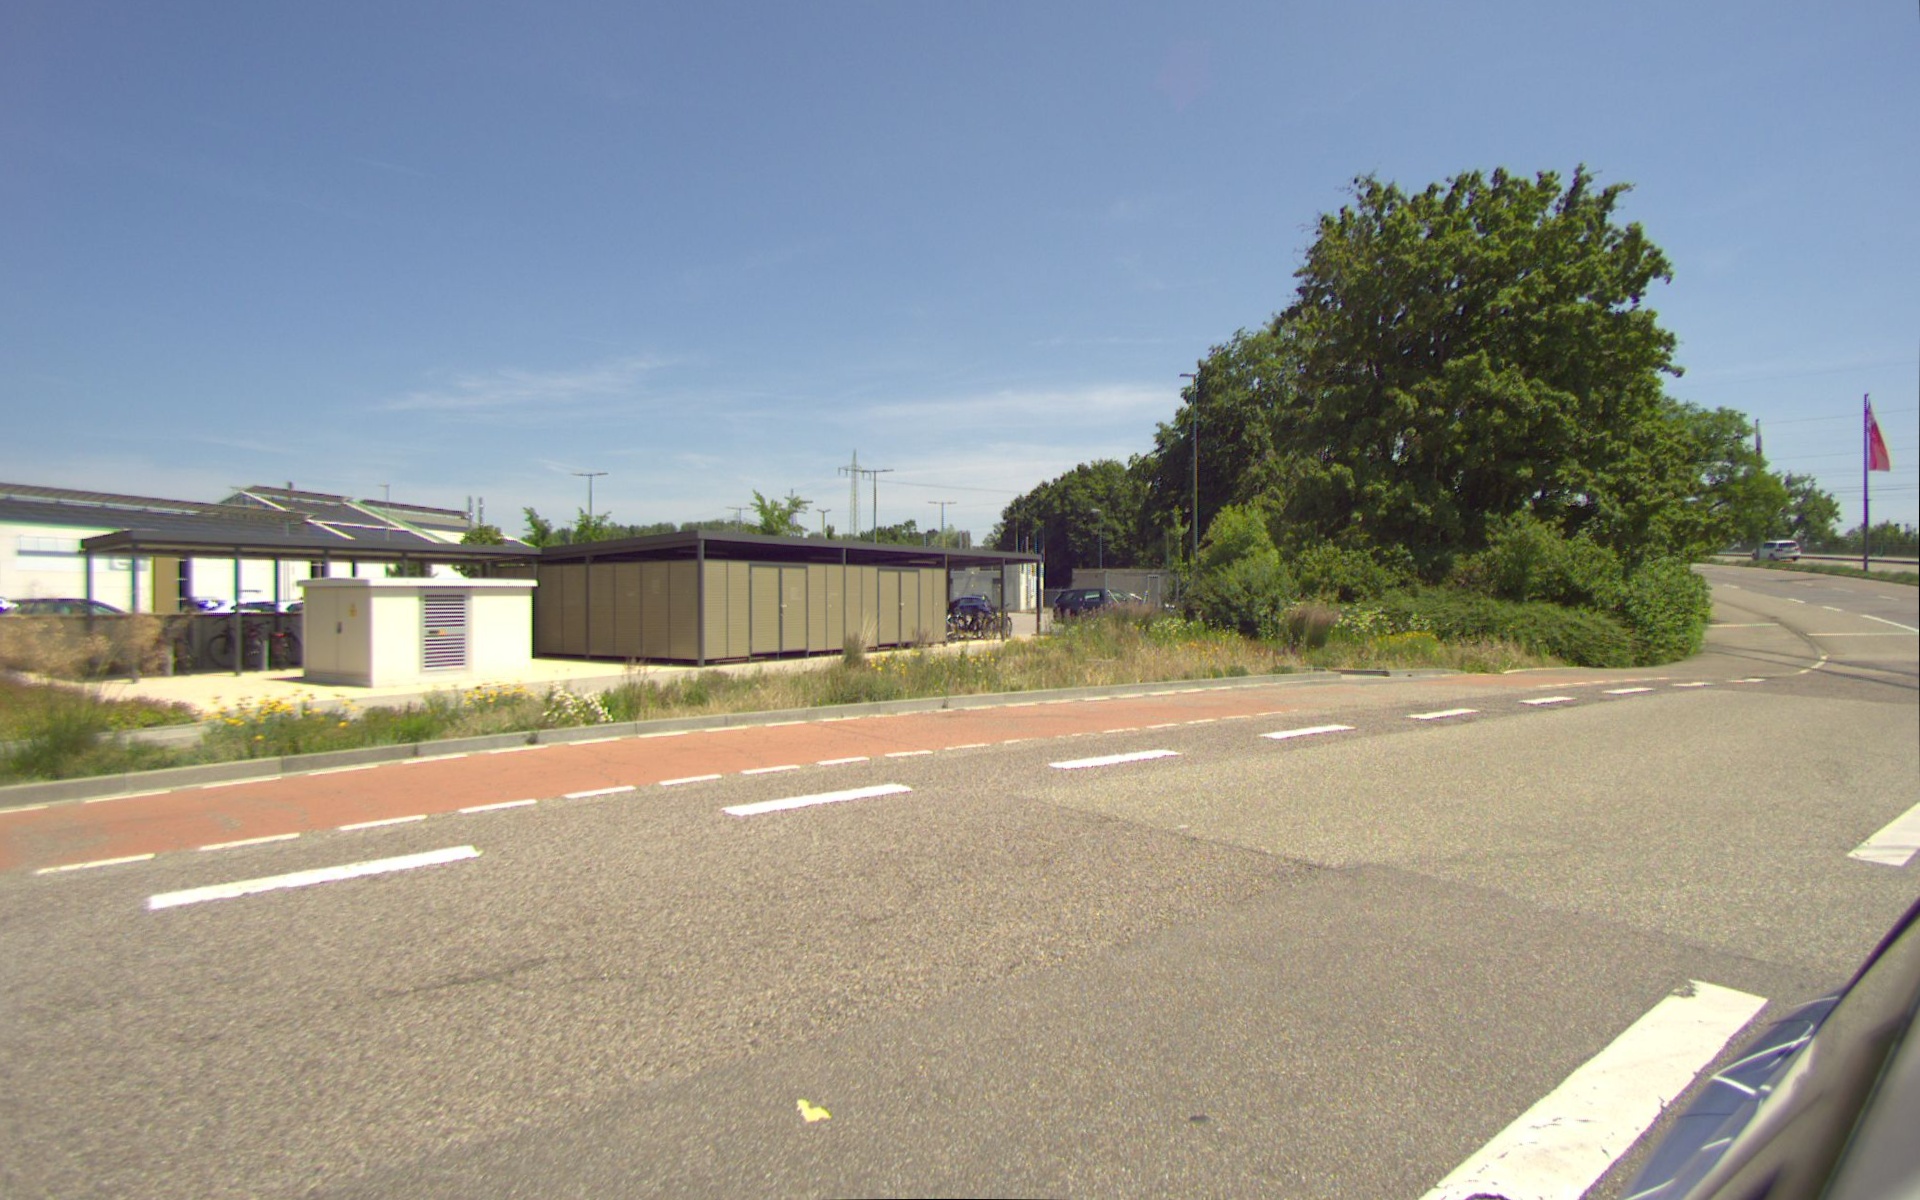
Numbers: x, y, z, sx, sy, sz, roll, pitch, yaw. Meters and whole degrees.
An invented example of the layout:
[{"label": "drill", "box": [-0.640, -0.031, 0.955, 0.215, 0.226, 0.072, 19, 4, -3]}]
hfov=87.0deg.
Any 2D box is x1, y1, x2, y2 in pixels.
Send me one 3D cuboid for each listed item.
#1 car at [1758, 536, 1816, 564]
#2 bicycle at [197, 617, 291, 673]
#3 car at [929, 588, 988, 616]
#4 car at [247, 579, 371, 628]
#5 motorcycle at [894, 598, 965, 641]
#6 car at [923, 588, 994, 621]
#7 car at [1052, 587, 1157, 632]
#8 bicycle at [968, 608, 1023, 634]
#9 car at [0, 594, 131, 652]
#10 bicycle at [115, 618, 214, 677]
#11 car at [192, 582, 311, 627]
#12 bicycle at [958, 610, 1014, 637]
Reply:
[{"label": "car", "box": [70.425, -4.298, 86.248, 1.815, 2.163, 3.997, -6, 3, 6]}, {"label": "bicycle", "box": [-14.060, 0.859, 19.859, 1.820, 1.014, 0.729, 0, 0, 26]}, {"label": "car", "box": [-0.080, 0.125, 68.860, 3.930, 1.861, 1.883, 0, 0, 6]}, {"label": "car", "box": [-26.757, 0.126, 41.665, 1.992, 1.934, 3.941, 0, 0, 41]}, {"label": "motorcycle", "box": [-0.952, 0.595, 31.516, 2.088, 1.303, 0.844, 0, -1, 25]}, {"label": "car", "box": [-0.072, 0.259, 58.522, 3.931, 1.839, 1.935, 0, 0, 7]}, {"label": "car", "box": [5.565, 0.358, 39.269, 3.933, 1.683, 1.834, 0, 0, 8]}, {"label": "bicycle", "box": [1.230, 0.723, 35.119, 1.849, 0.874, 0.577, 0, 0, 31]}, {"label": "car", "box": [-24.484, 0.579, 27.155, 1.376, 1.446, 3.234, 0, 1, 35]}, {"label": "bicycle", "box": [-14.795, 0.866, 18.813, 1.820, 1.014, 0.729, 0, 0, 26]}, {"label": "car", "box": [-30.911, 0.153, 44.233, 1.992, 1.875, 3.941, 0, 0, 41]}, {"label": "bicycle", "box": [0.874, 0.801, 34.487, 1.868, 0.874, 0.584, 0, 0, 31]}]
